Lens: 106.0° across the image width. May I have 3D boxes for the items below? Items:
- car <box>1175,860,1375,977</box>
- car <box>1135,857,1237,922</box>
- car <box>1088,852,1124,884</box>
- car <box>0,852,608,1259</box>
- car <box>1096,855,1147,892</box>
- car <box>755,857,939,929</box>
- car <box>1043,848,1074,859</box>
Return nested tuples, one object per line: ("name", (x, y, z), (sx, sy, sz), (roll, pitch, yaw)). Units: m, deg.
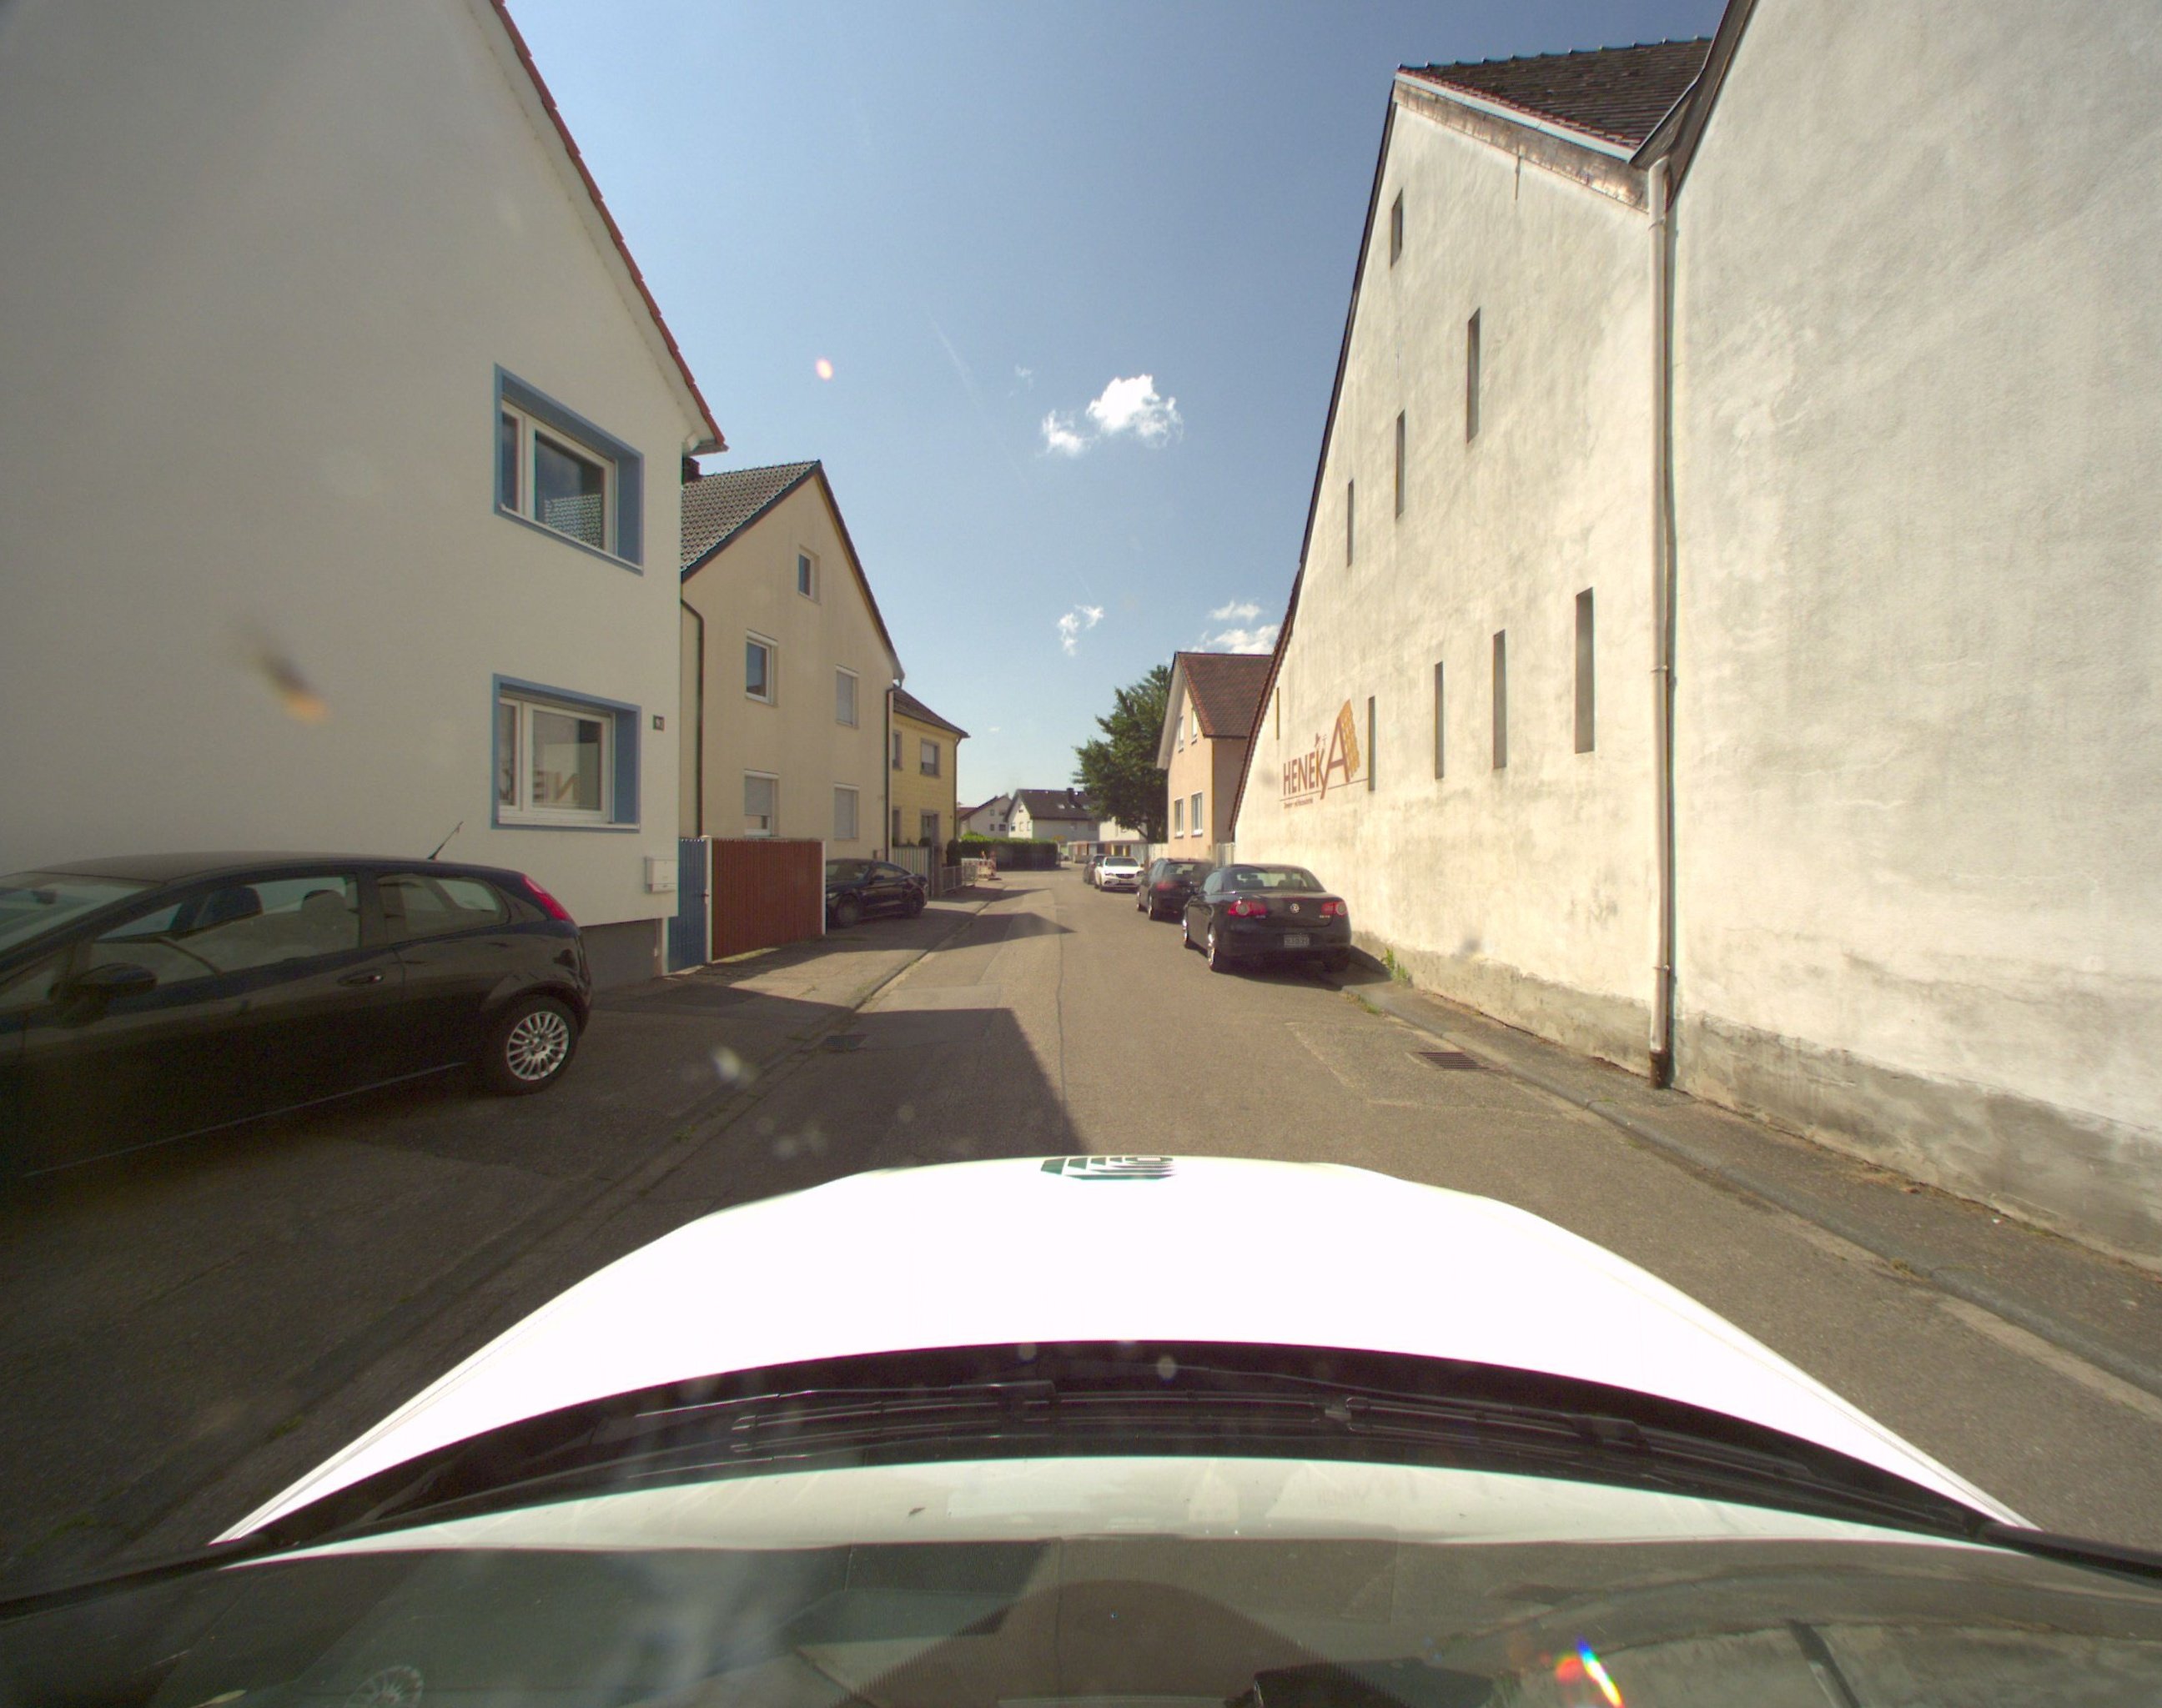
("car", (2.593, 0.790, 12.013), (1.889, 1.365, 4.413), (0, 0, 0))
("car", (2.437, 0.778, 20.011), (1.889, 1.365, 4.736), (0, 0, 0))
("car", (1.204, 0.686, 40.886), (1.707, 1.532, 4.034), (0, 0, 0))
("car", (-4.497, 0.731, 3.889), (1.625, 1.455, 3.802), (0, 1, 15))
("car", (1.628, 0.757, 34.181), (1.889, 1.428, 4.736), (0, 0, 0))
("car", (-4.879, 0.757, 17.757), (1.756, 1.349, 4.487), (0, 0, 15))
("car", (-2.973, -0.076, 106.571), (3.617, 1.408, 1.769), (0, 0, -25))
